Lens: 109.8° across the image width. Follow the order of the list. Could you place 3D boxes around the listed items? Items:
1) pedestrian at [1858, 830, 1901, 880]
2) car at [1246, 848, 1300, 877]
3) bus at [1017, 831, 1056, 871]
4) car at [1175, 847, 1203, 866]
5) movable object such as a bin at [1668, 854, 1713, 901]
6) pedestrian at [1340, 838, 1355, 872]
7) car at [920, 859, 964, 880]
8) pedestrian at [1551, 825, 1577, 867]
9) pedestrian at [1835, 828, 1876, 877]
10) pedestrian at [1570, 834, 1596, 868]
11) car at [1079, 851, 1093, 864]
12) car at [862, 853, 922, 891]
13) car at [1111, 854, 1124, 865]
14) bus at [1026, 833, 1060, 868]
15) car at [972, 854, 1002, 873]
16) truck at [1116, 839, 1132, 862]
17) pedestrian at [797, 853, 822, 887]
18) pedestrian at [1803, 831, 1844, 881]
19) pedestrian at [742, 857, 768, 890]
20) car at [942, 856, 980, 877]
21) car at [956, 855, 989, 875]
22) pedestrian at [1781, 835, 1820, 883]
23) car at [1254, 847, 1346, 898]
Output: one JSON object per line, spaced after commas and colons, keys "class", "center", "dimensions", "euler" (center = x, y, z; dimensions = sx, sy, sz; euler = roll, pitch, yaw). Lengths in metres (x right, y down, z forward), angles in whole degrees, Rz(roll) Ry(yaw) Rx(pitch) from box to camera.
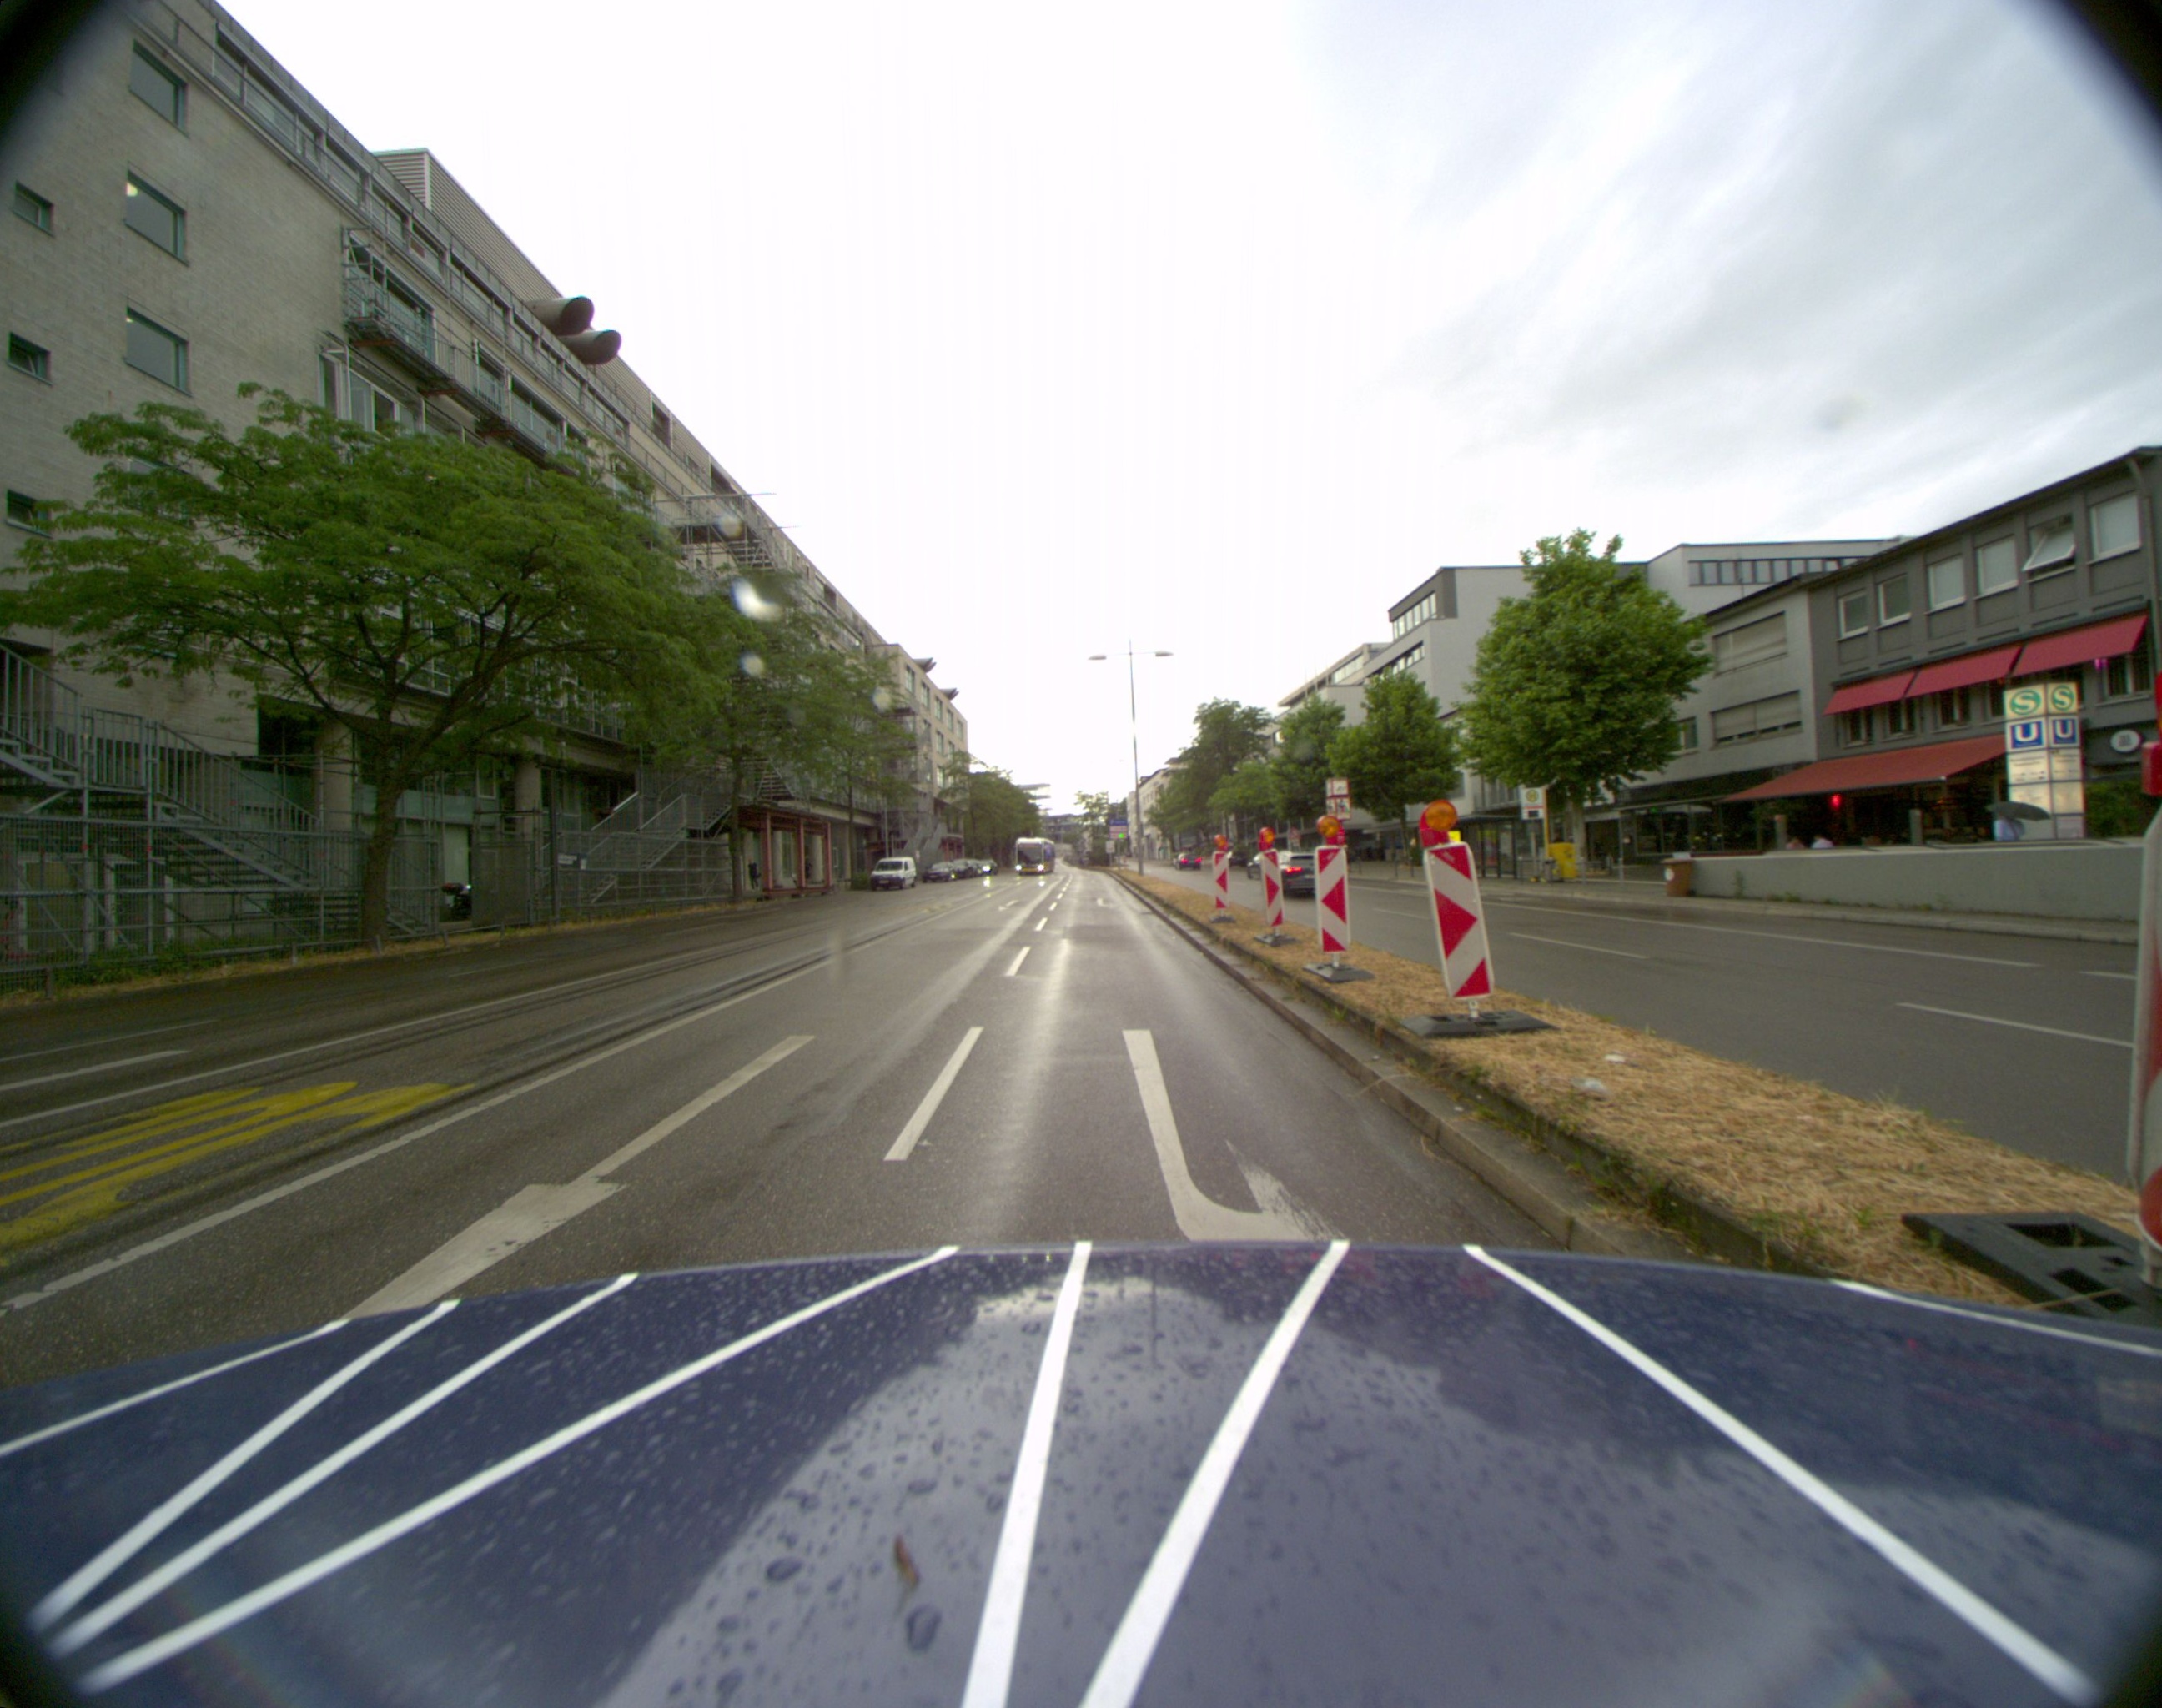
{"class": "pedestrian", "center": [24.995, 0.031, 23.784], "dimensions": [0.669, 1.520, 0.611], "euler": [-2, 1, 3]}
{"class": "car", "center": [10.027, 0.445, 39.986], "dimensions": [1.692, 1.422, 4.214], "euler": [-2, -1, -1]}
{"class": "bus", "center": [-4.101, -0.282, 71.980], "dimensions": [2.890, 3.430, 9.756], "euler": [-2, 1, 1]}
{"class": "car", "center": [9.678, 0.182, 68.191], "dimensions": [1.692, 1.545, 4.419], "euler": [-2, 1, -2]}
{"class": "movable object such as a bin", "center": [14.565, 0.549, 18.160], "dimensions": [0.507, 1.094, 0.660], "euler": [-2, 1, -2]}
{"class": "pedestrian", "center": [14.370, 0.066, 40.944], "dimensions": [0.575, 1.815, 0.580], "euler": [-2, 1, 7]}
{"class": "car", "center": [-9.890, 1.079, 54.413], "dimensions": [2.147, 1.329, 4.816], "euler": [-2, 1, 0]}
{"class": "pedestrian", "center": [23.289, -0.375, 36.657], "dimensions": [0.774, 2.002, 0.767], "euler": [-2, 1, 8]}
{"class": "pedestrian", "center": [24.999, -0.051, 24.528], "dimensions": [0.669, 1.520, 0.611], "euler": [-2, 1, 4]}
{"class": "pedestrian", "center": [24.197, -0.145, 36.608], "dimensions": [0.774, 1.556, 0.767], "euler": [-2, 1, 8]}
{"class": "car", "center": [0.932, 0.537, 129.690], "dimensions": [1.998, 2.002, 4.001], "euler": [-2, 1, 6]}
{"class": "car", "center": [-10.525, 0.943, 42.647], "dimensions": [2.213, 1.895, 4.329], "euler": [-2, 1, 0]}
{"class": "car", "center": [6.710, 0.996, 139.053], "dimensions": [1.999, 2.002, 3.999], "euler": [-2, 1, -2]}
{"class": "bus", "center": [-3.972, -0.393, 81.705], "dimensions": [2.890, 3.420, 9.709], "euler": [-2, 1, 1]}
{"class": "car", "center": [-8.893, 0.896, 72.417], "dimensions": [2.147, 1.637, 4.816], "euler": [-2, 1, 0]}
{"class": "truck", "center": [7.102, -0.560, 127.107], "dimensions": [1.999, 3.557, 7.572], "euler": [-2, 0, -2]}
{"class": "pedestrian", "center": [-16.170, 0.942, 45.266], "dimensions": [1.009, 2.002, 1.039], "euler": [-2, 1, 1]}
{"class": "pedestrian", "center": [23.144, 0.072, 23.687], "dimensions": [0.669, 1.520, 0.611], "euler": [-2, 1, 3]}
{"class": "pedestrian", "center": [-18.318, 1.095, 42.731], "dimensions": [1.010, 1.789, 0.846], "euler": [-2, 1, -3]}
{"class": "car", "center": [-9.623, 0.979, 61.211], "dimensions": [2.147, 1.486, 4.816], "euler": [-2, 1, 0]}
{"class": "car", "center": [-9.463, 0.938, 66.680], "dimensions": [2.147, 1.552, 4.816], "euler": [-2, 1, 0]}
{"class": "pedestrian", "center": [23.346, 0.158, 24.666], "dimensions": [0.669, 1.520, 0.611], "euler": [-2, 1, 3]}
{"class": "car", "center": [7.088, 0.569, 25.071], "dimensions": [1.692, 1.501, 4.291], "euler": [-2, 0, -1]}
